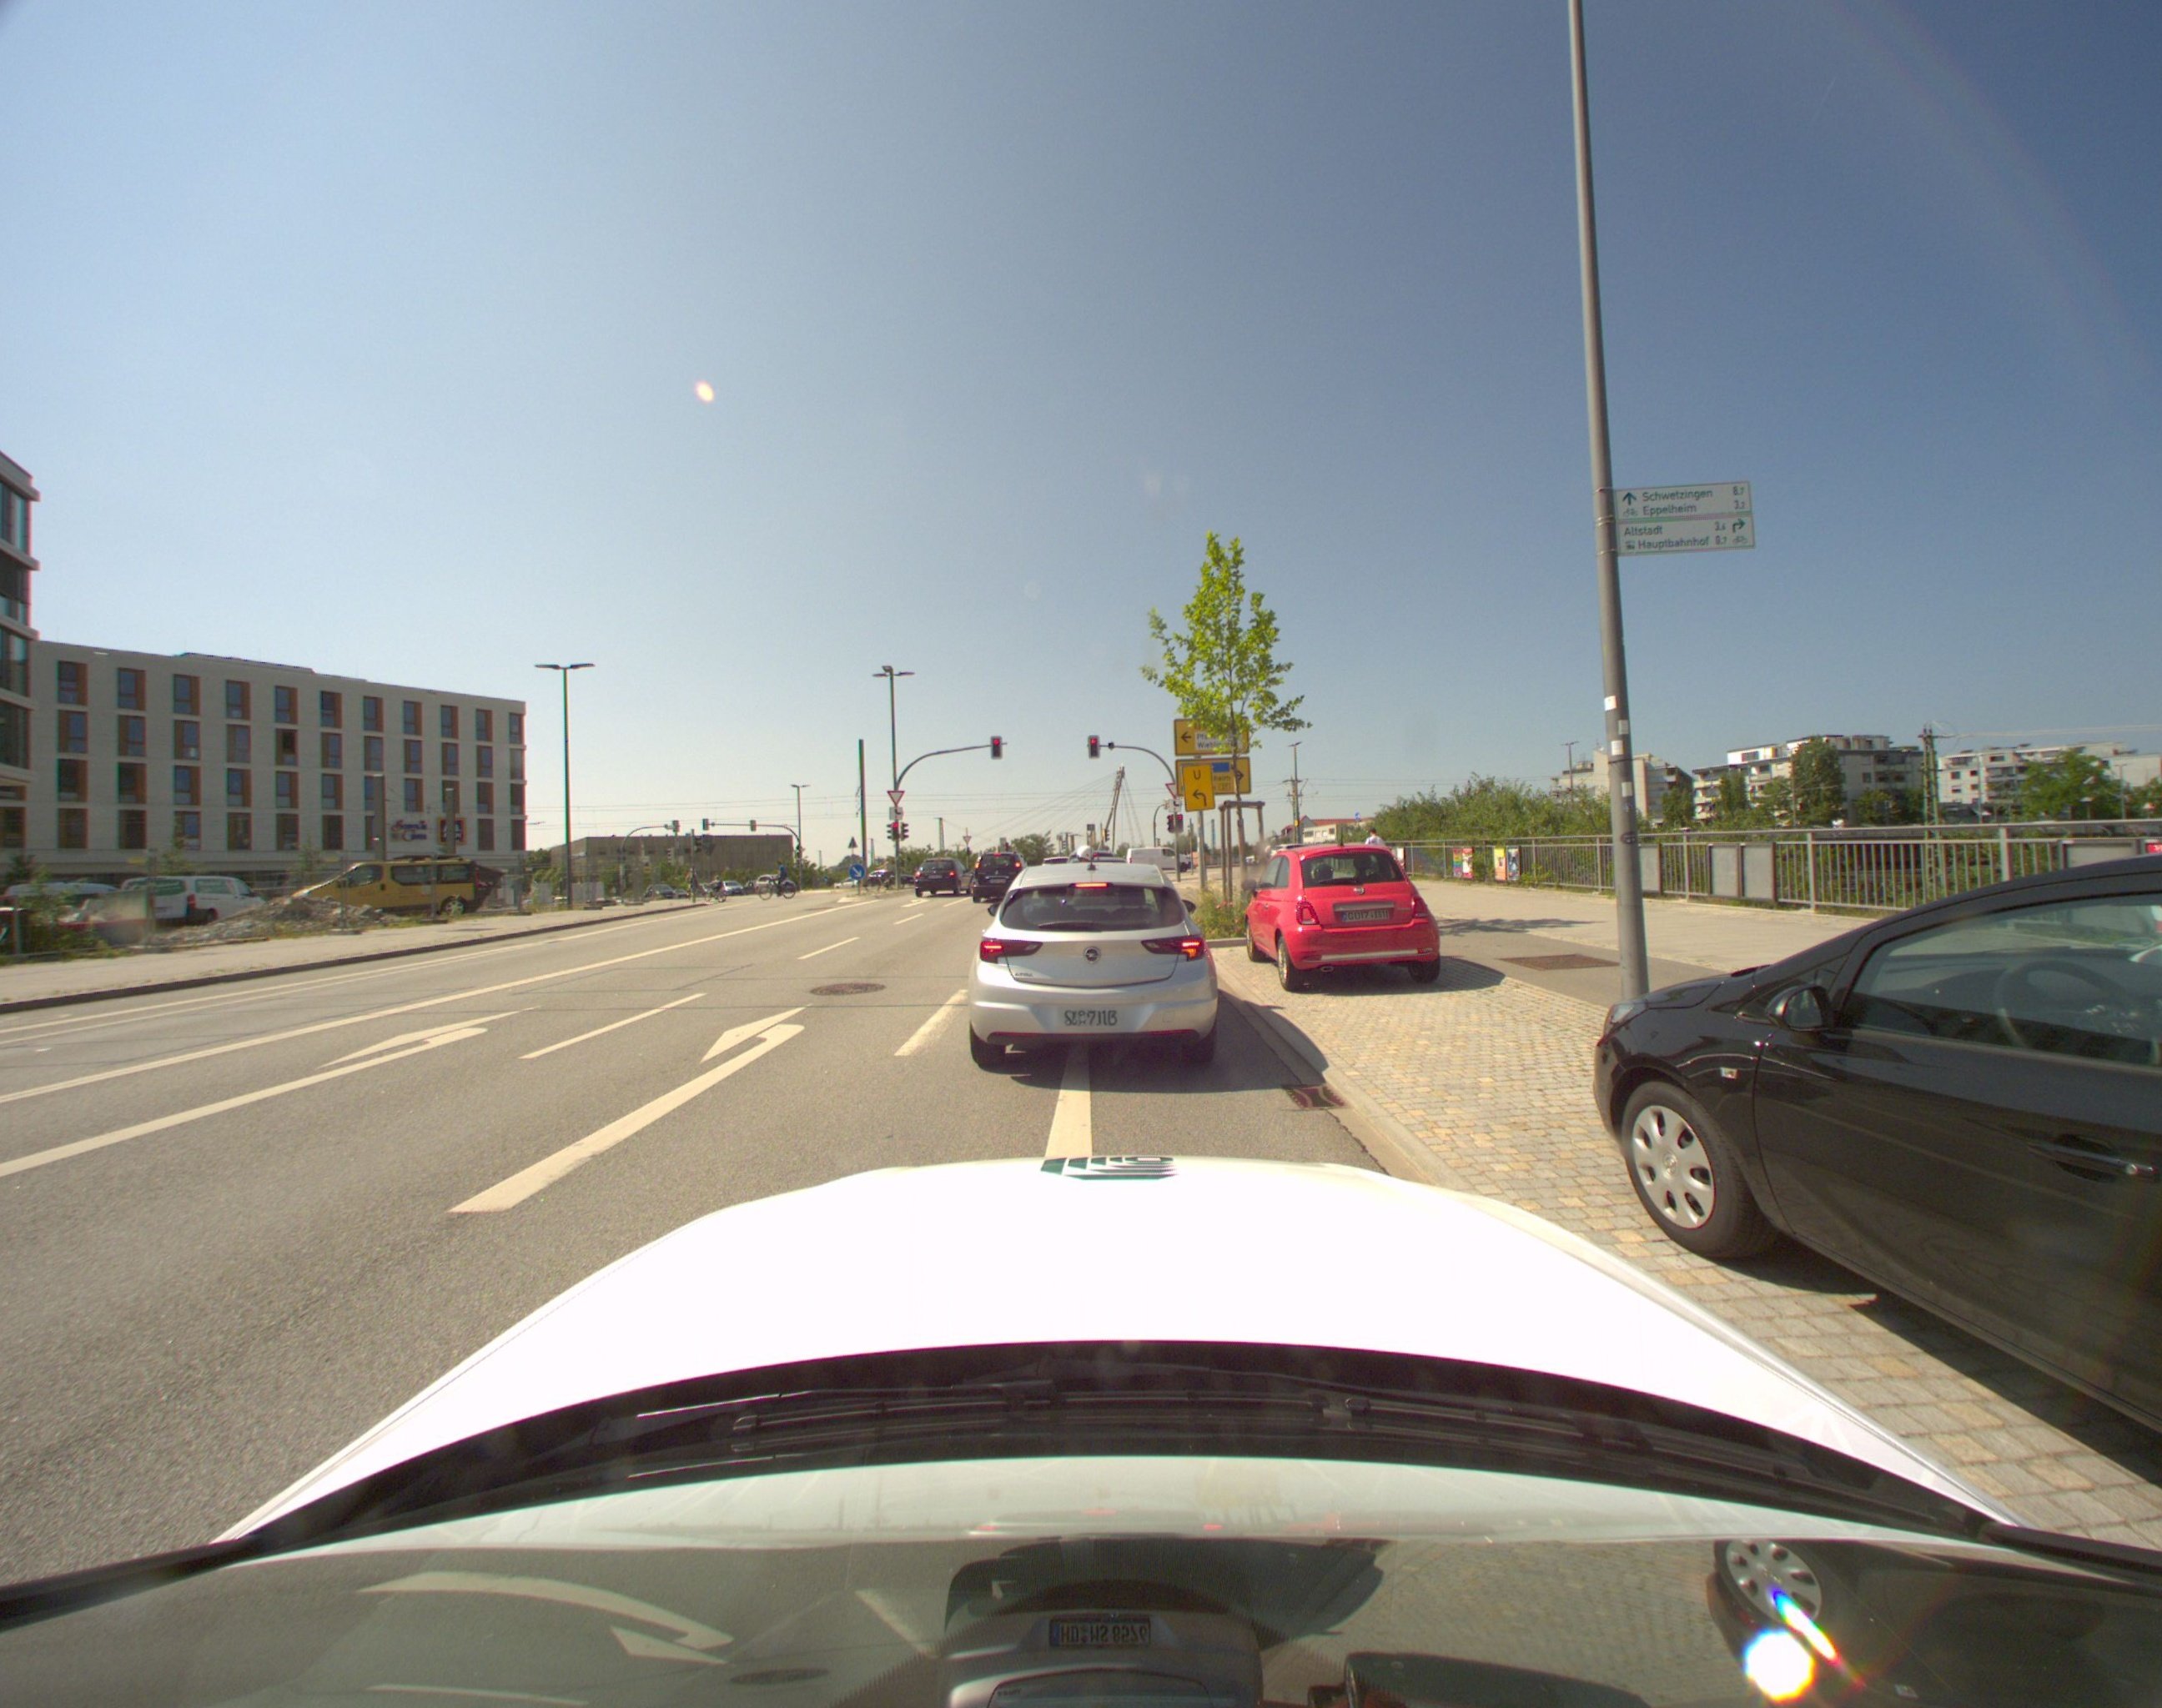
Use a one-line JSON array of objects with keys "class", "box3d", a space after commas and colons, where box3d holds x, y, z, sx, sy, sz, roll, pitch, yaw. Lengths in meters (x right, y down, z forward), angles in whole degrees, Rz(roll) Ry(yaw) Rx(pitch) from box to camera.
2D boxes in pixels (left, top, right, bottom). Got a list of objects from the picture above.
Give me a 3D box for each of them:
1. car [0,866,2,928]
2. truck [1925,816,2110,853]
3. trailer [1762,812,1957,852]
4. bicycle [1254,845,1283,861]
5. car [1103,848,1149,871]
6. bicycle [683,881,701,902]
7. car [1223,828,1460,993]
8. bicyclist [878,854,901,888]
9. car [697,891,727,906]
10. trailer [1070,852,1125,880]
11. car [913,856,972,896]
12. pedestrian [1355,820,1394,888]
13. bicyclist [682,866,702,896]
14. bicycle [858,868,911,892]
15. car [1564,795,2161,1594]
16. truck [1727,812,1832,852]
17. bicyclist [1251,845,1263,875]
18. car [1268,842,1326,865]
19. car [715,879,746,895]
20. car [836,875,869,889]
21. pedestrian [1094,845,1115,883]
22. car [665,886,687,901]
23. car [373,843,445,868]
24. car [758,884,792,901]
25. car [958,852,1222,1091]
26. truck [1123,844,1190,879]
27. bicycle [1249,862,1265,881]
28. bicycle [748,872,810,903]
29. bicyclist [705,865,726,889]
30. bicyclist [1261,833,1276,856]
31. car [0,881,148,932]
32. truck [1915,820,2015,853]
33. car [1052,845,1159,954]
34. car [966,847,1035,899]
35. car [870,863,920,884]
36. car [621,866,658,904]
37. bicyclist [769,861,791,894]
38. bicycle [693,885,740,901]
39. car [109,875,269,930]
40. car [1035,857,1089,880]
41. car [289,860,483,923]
[{"class": "car", "box3d": [-36.257, 1.401, 24.992, 2.220, 2.056, 4.133, 0, -1, -28]}, {"class": "truck", "box3d": [88.035, -1.767, 76.504, 17.857, 3.204, 3.723, 0, -1, -14]}, {"class": "trailer", "box3d": [68.062, -1.792, 71.194, 17.225, 3.204, 3.723, 0, -1, -14]}, {"class": "bicycle", "box3d": [13.266, -0.074, 57.599, 1.865, 1.068, 0.576, 0, -1, -8]}, {"class": "car", "box3d": [4.236, 0.529, 76.915, 3.988, 2.014, 1.992, -1, -1, -11]}, {"class": "bicycle", "box3d": [-19.799, 1.895, 41.412, 0.607, 1.007, 2.488, -1, -1, -30]}, {"class": "car", "box3d": [2.935, 0.551, 10.066, 1.663, 1.540, 3.917, -3, 0, 1]}, {"class": "bicyclist", "box3d": [-9.149, 0.806, 38.893, 0.943, 1.569, 0.821, 0, -1, -4]}, {"class": "car", "box3d": [-40.071, 4.785, 88.453, 2.009, 1.455, 4.435, 1, -1, -38]}, {"class": "trailer", "box3d": [1.174, 0.874, 59.842, 3.977, 2.014, 1.998, 0, -1, -3]}, {"class": "car", "box3d": [-5.228, 0.830, 31.170, 1.581, 1.395, 3.340, -1, -1, 1]}, {"class": "pedestrian", "box3d": [7.969, 0.009, 22.154, 0.755, 1.830, 0.885, 0, -1, 1]}, {"class": "bicyclist", "box3d": [-19.770, 1.381, 41.362, 0.846, 1.502, 0.652, 1, -1, -31]}, {"class": "bicycle", "box3d": [-9.357, 1.234, 38.854, 2.354, 1.127, 0.676, 0, -1, -5]}, {"class": "car", "box3d": [2.881, 0.638, 1.725, 1.576, 1.555, 3.548, -4, 0, 1]}, {"class": "truck", "box3d": [59.039, -1.795, 68.911, 6.478, 3.204, 3.721, 0, -1, -14]}, {"class": "bicyclist", "box3d": [11.095, 0.393, 51.296, 0.629, 1.887, 0.599, -1, -1, 23]}, {"class": "car", "box3d": [17.156, -0.024, 64.746, 4.037, 1.815, 1.923, -1, -1, -13]}, {"class": "car", "box3d": [-32.170, 3.002, 74.735, 1.595, 1.439, 3.115, 1, -1, -43]}, {"class": "car", "box3d": [-23.616, 2.882, 84.092, 3.180, 1.304, 1.533, -2, -1, 34]}, {"class": "pedestrian", "box3d": [1.171, 0.507, 40.980, 0.746, 1.863, 0.744, 1, -2, -43]}, {"class": "car", "box3d": [-48.594, 4.716, 97.613, 1.725, 1.741, 4.166, 1, -1, -36]}, {"class": "car", "box3d": [-54.402, 0.128, 65.999, 3.990, 2.014, 1.991, 0, -1, -12]}, {"class": "car", "box3d": [-24.993, 3.124, 66.626, 2.481, 1.240, 1.272, -1, -1, -16]}, {"class": "car", "box3d": [0.104, 0.775, 7.412, 1.685, 1.520, 4.271, -1, 0, 1]}, {"class": "truck", "box3d": [5.550, 0.582, 60.116, 4.683, 2.541, 1.998, 0, -1, -3]}, {"class": "bicycle", "box3d": [11.130, 1.096, 51.564, 0.549, 1.178, 2.099, 1, 0, 24]}, {"class": "bicycle", "box3d": [-14.181, 1.575, 38.342, 2.525, 1.134, 0.726, -6, 2, -11]}, {"class": "bicyclist", "box3d": [-17.700, 1.121, 39.448, 0.654, 1.175, 0.731, 0, -1, 3]}, {"class": "bicyclist", "box3d": [13.261, -0.643, 57.585, 0.771, 1.610, 0.947, 0, -1, -7]}, {"class": "car", "box3d": [-33.712, 1.684, 27.294, 1.809, 1.508, 3.965, 0, -1, -27]}, {"class": "truck", "box3d": [89.492, -1.708, 82.416, 9.890, 3.158, 2.492, 0, -1, -15]}, {"class": "car", "box3d": [0.416, 0.723, 14.320, 1.629, 1.674, 3.745, 0, -1, 1]}, {"class": "car", "box3d": [-2.600, 0.618, 27.157, 1.797, 1.622, 3.917, 0, -1, 1]}, {"class": "car", "box3d": [-15.094, 1.563, 66.119, 3.478, 1.641, 1.809, -1, -1, 19]}, {"class": "car", "box3d": [-24.212, 1.656, 44.724, 1.679, 2.014, 3.964, 0, -1, -27]}, {"class": "bicyclist", "box3d": [-14.171, 1.100, 38.329, 0.823, 1.560, 0.860, 0, -1, -12]}, {"class": "bicycle", "box3d": [-17.670, 1.894, 39.429, 2.229, 0.692, 0.518, -1, -1, 14]}, {"class": "car", "box3d": [-31.096, 1.626, 28.608, 2.003, 1.707, 4.526, 0, -1, -23]}, {"class": "car", "box3d": [-1.459, 1.144, 63.286, 3.967, 1.784, 2.003, 0, -1, 6]}, {"class": "car", "box3d": [-22.568, 1.150, 26.603, 1.974, 1.890, 4.514, -1, -1, 40]}]
